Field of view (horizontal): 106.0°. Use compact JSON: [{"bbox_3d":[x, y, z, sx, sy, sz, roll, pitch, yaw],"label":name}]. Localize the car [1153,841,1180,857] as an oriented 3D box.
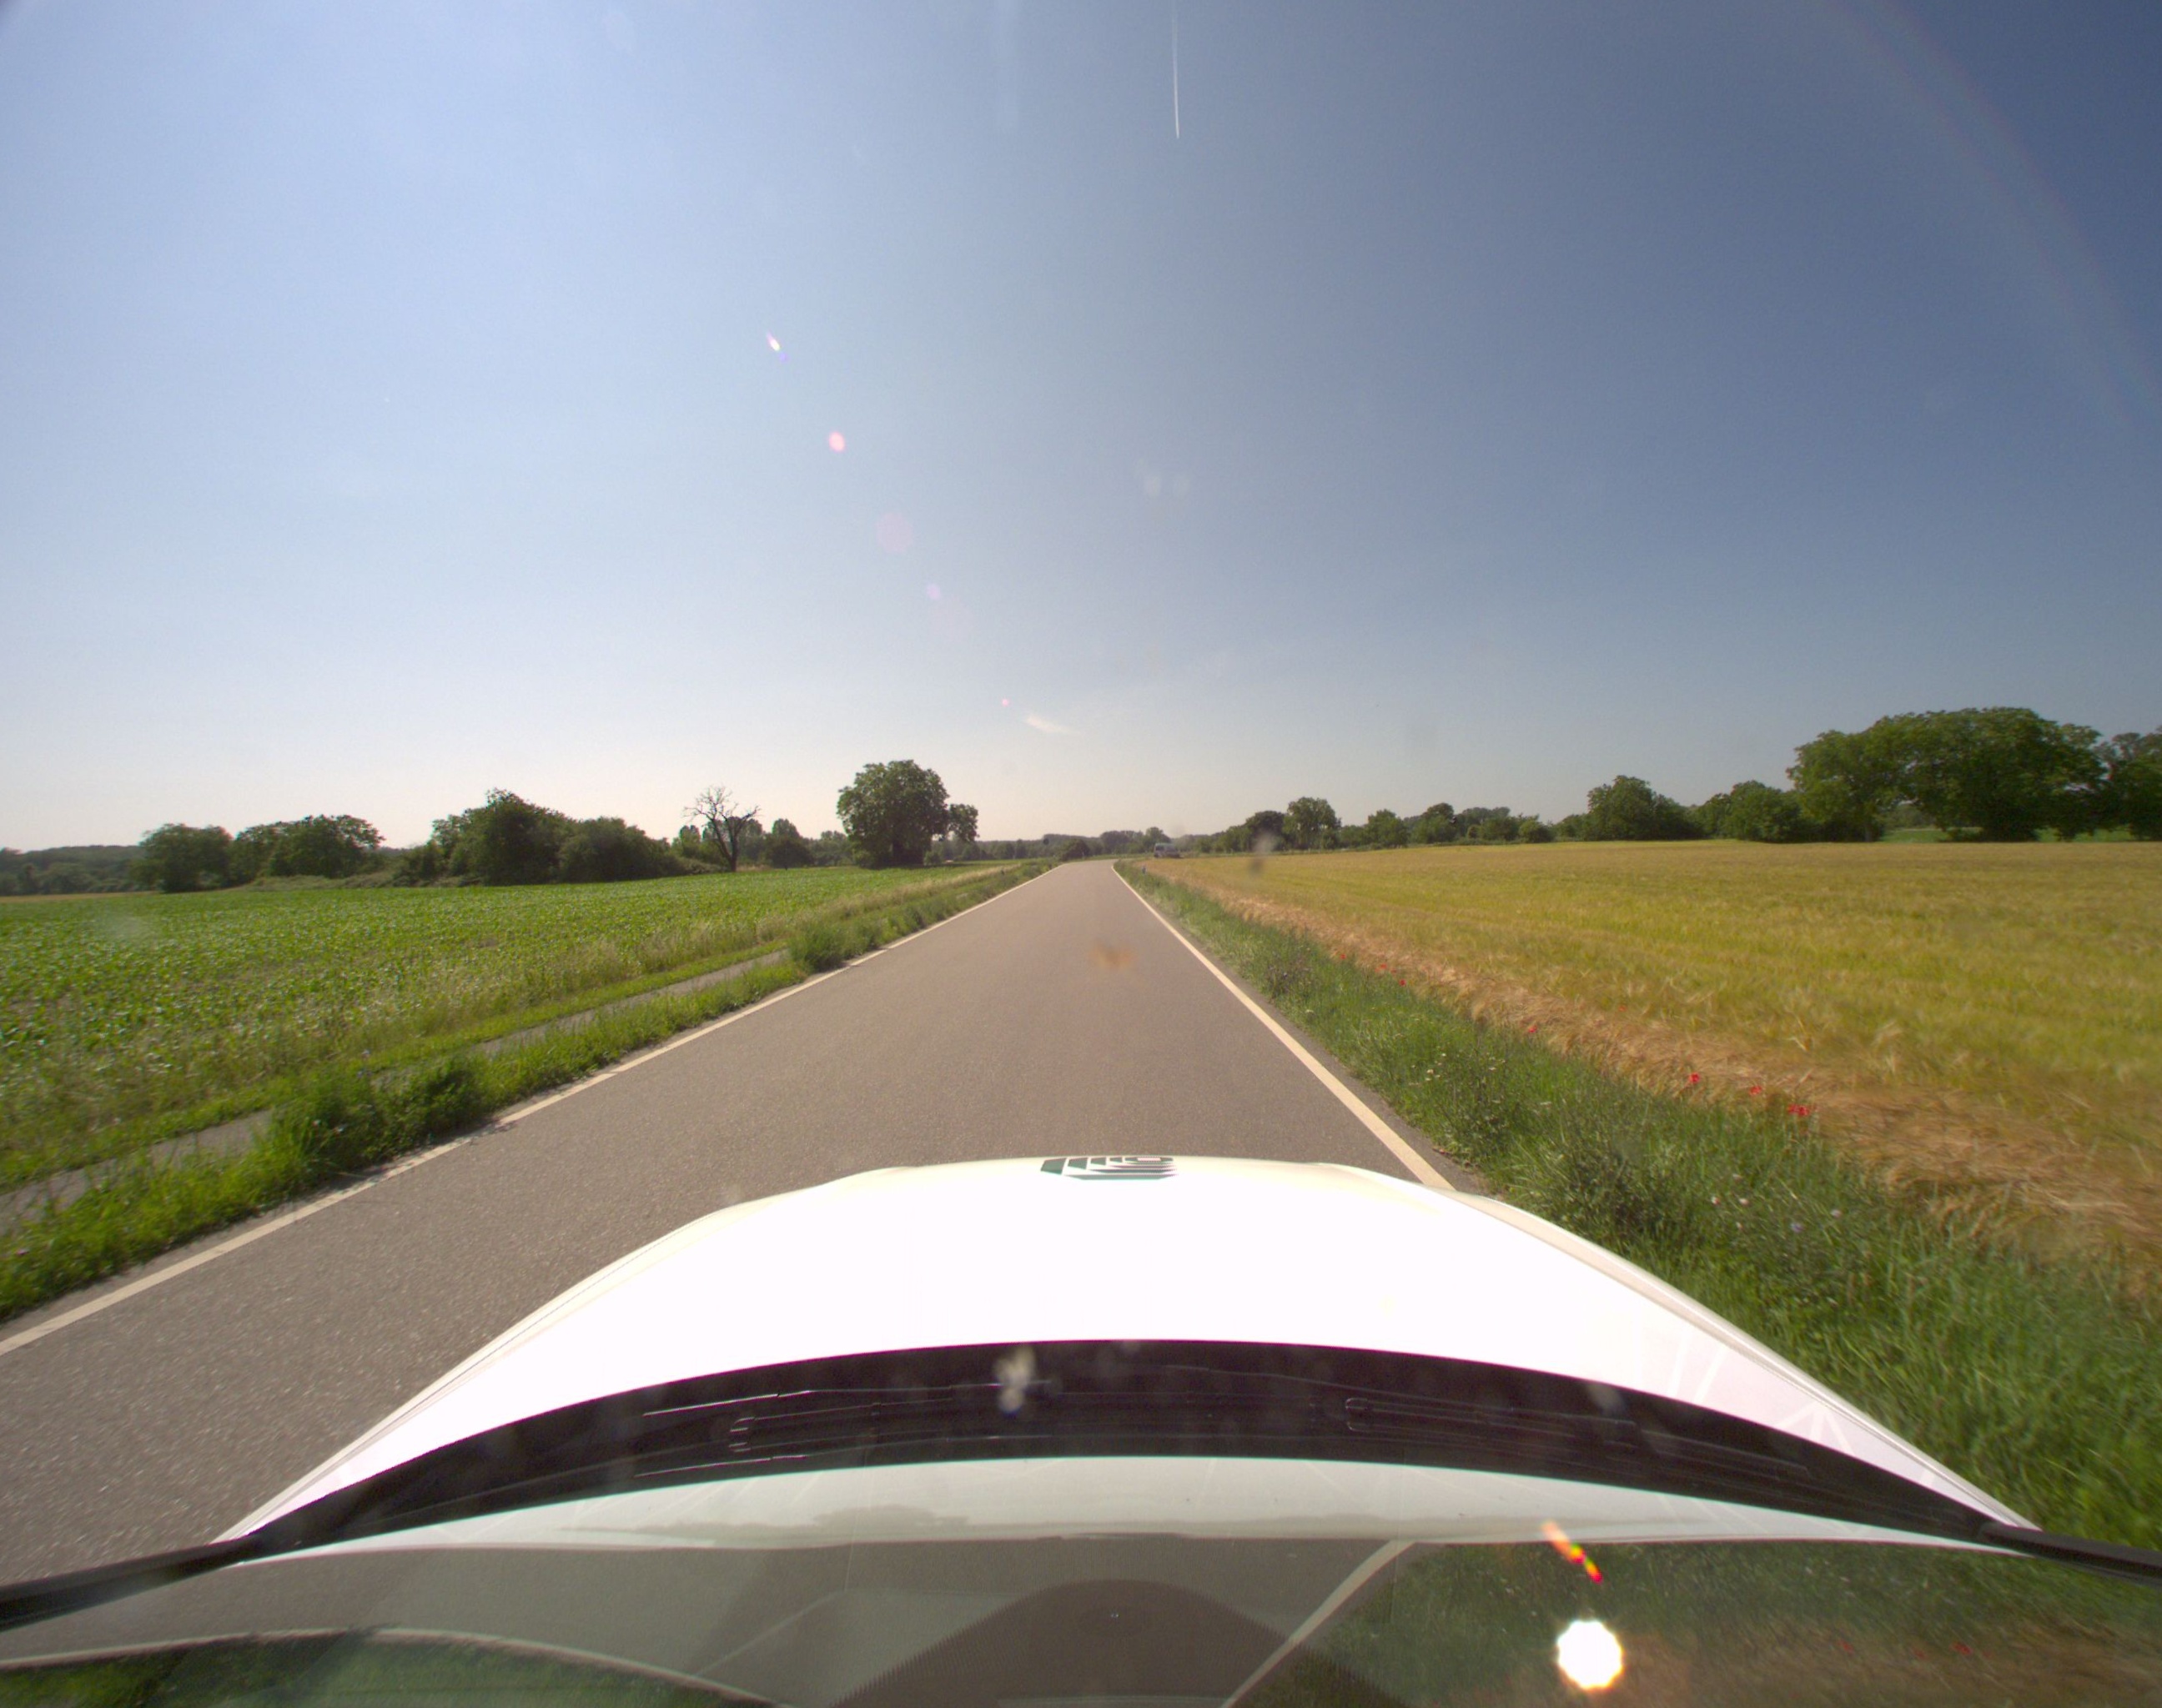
[{"bbox_3d":[13.624,-0.841,130.188,2.084,2.367,5.722,-2,0,30],"label":"car"}]
